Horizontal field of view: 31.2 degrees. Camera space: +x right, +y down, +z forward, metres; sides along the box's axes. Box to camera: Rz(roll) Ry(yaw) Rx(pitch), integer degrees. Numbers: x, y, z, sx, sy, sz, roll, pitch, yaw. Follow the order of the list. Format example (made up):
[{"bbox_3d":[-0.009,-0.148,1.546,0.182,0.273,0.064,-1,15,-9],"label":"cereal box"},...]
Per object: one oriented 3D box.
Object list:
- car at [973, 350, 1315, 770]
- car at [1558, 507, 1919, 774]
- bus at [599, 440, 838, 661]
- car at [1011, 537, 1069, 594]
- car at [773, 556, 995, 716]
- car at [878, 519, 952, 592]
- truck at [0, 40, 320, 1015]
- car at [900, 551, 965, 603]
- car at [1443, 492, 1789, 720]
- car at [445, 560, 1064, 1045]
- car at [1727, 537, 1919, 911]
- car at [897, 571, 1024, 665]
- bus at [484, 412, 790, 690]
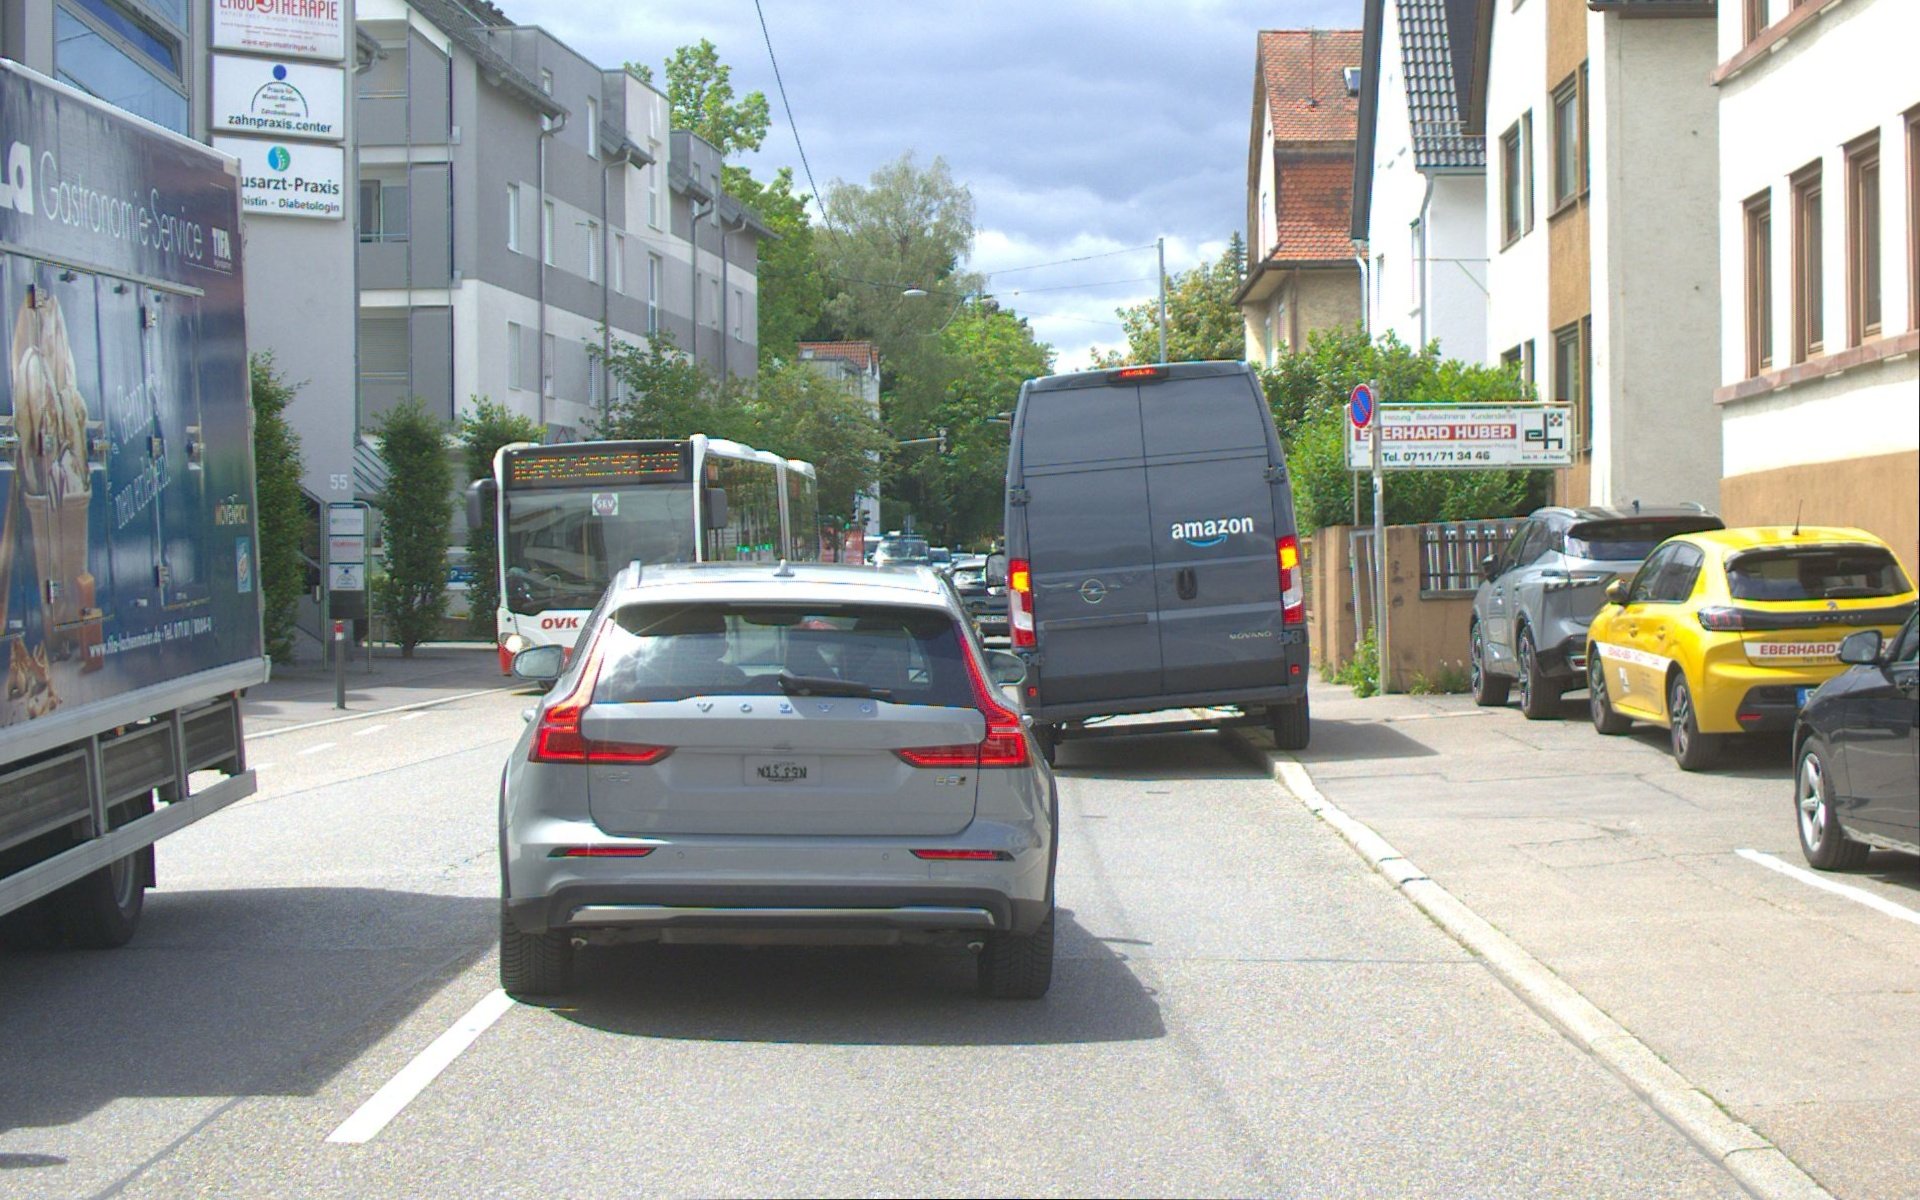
[{"bbox_3d":[1.395,-0.308,25.835,2.253,2.786,5.569,-1,1,3],"label":"car"},{"bbox_3d":[5.293,0.184,22.619,1.877,1.442,4.308,-1,3,-1],"label":"car"},{"bbox_3d":[-3.633,-0.778,53.777,2.716,3.153,8.068,-1,1,3],"label":"bus"},{"bbox_3d":[2.922,-1.261,125.422,1.994,2.007,4.000,0,1,3],"label":"car"},{"bbox_3d":[-0.683,0.304,33.779,1.896,1.441,3.968,1,1,3],"label":"car"},{"bbox_3d":[-1.373,-1.390,106.199,2.105,2.114,4.765,-3,1,0],"label":"car"},{"bbox_3d":[-4.447,-0.231,11.710,2.853,3.082,8.089,-1,1,1],"label":"truck"},{"bbox_3d":[-0.923,-0.807,116.723,2.105,1.704,4.765,-1,1,0],"label":"car"},{"bbox_3d":[5.114,0.001,27.411,1.860,1.606,4.586,-2,1,0],"label":"car"},{"bbox_3d":[-0.606,0.599,12.555,1.896,1.448,3.968,0,1,1],"label":"car"},{"bbox_3d":[4.689,0.456,14.125,1.968,1.442,4.536,-1,1,-1],"label":"car"},{"bbox_3d":[0.044,0.265,56.126,1.896,1.441,3.968,0,1,3],"label":"car"},{"bbox_3d":[-3.963,-0.632,44.611,2.682,3.153,10.184,-1,1,2],"label":"bus"}]
